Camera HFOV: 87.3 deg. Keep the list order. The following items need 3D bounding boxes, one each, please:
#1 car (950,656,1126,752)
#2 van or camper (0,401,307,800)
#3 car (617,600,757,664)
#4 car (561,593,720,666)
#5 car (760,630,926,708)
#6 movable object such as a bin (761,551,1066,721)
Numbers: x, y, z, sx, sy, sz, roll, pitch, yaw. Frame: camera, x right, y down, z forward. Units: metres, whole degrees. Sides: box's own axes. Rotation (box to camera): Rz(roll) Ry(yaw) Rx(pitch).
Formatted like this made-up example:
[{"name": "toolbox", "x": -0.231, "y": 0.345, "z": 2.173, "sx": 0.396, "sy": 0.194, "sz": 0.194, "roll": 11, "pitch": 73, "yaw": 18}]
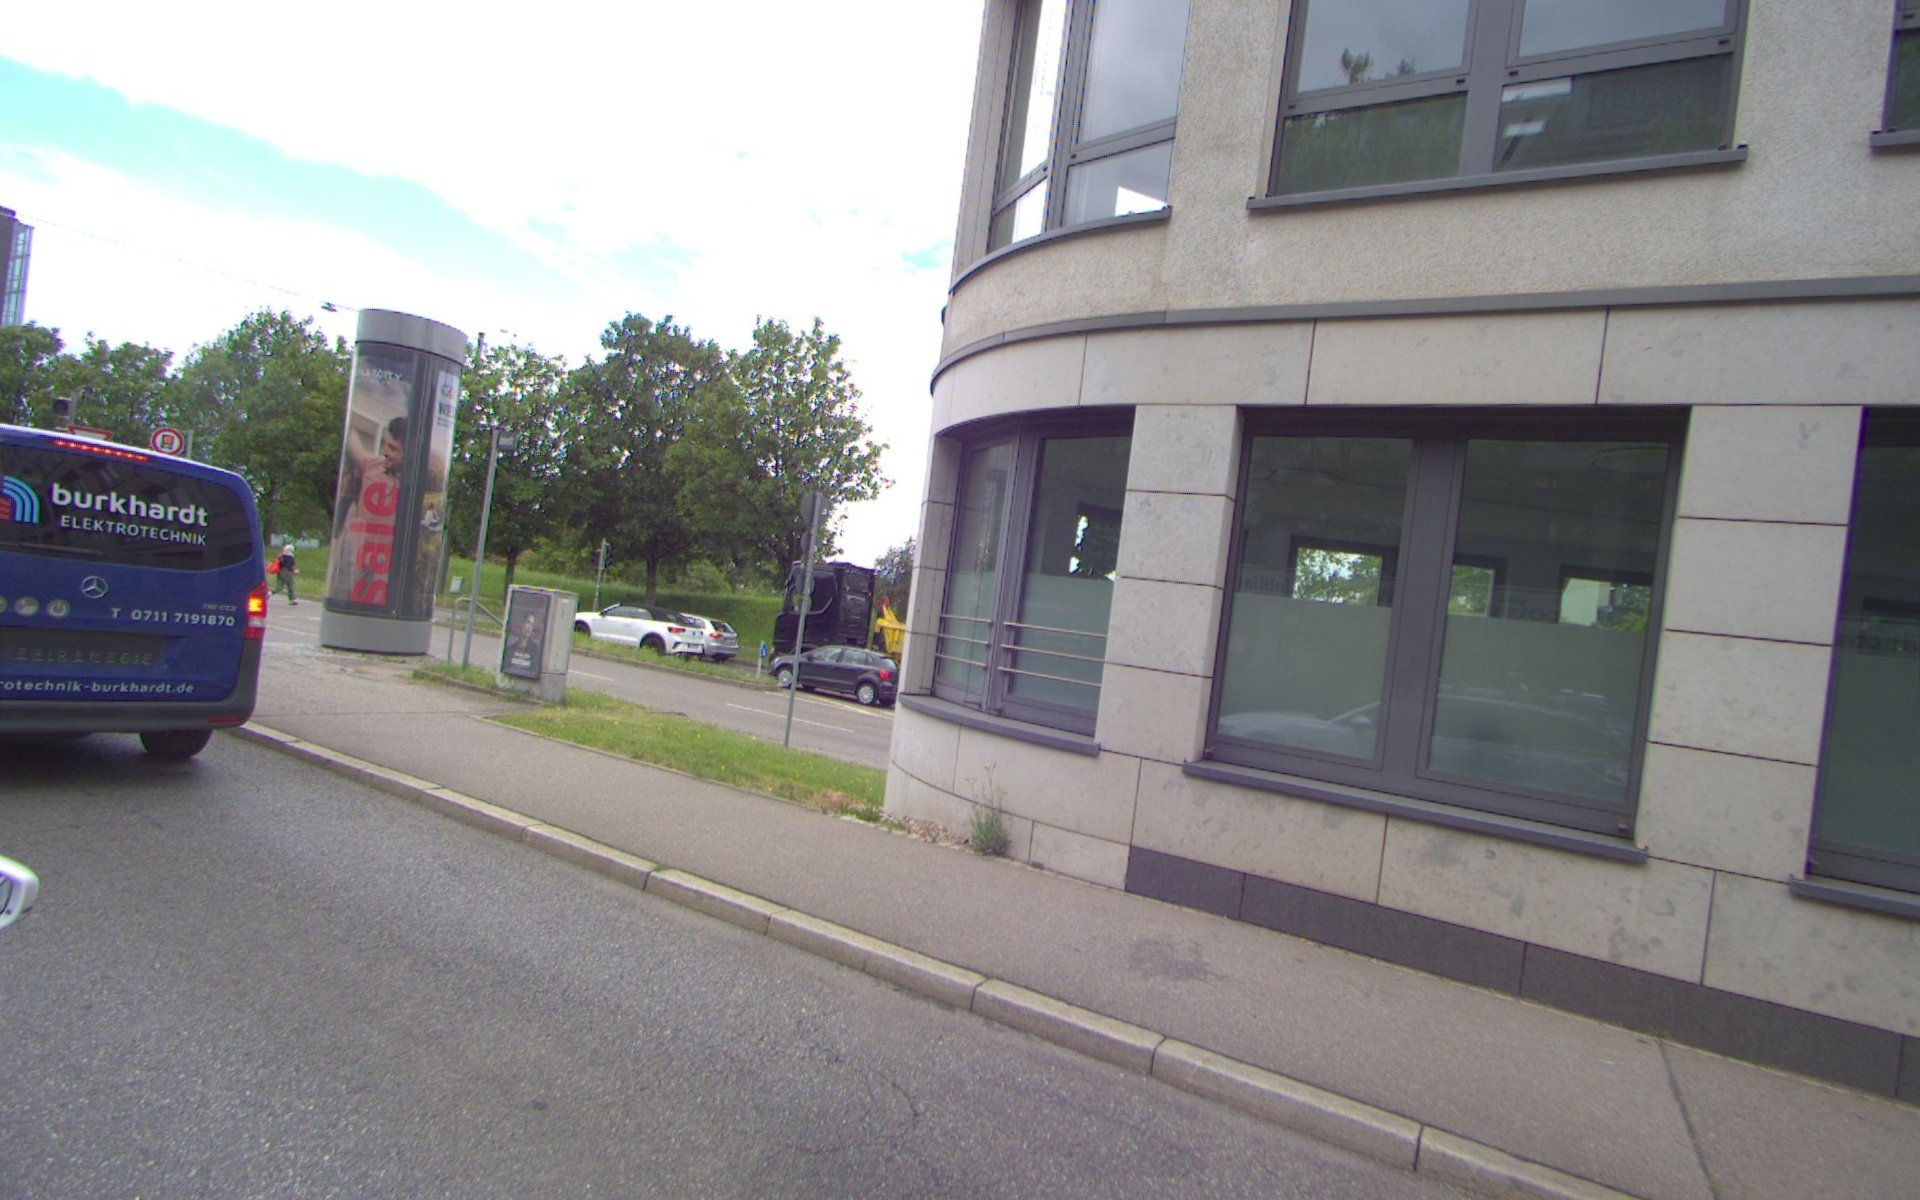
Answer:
[{"name": "car", "x": 2.018, "y": 2.628, "z": 25.716, "sx": 3.925, "sy": 1.723, "sz": 2.003, "roll": 8, "pitch": -3, "yaw": 19}, {"name": "van or camper", "x": -6.555, "y": -0.197, "z": 6.497, "sx": 4.949, "sy": 1.934, "sz": 1.862, "roll": 7, "pitch": -1, "yaw": 32}, {"name": "car", "x": -9.104, "y": 1.078, "z": 33.607, "sx": 3.925, "sy": 1.469, "sz": 2.003, "roll": 8, "pitch": -3, "yaw": 19}, {"name": "car", "x": -9.496, "y": 0.891, "z": 29.979, "sx": 3.925, "sy": 1.469, "sz": 2.003, "roll": 8, "pitch": -3, "yaw": 19}, {"name": "car", "x": -3.198, "y": 1.909, "z": 27.737, "sx": 3.925, "sy": 1.469, "sz": 2.003, "roll": 8, "pitch": -3, "yaw": 19}, {"name": "movable object such as a bin", "x": -1.396, "y": 1.049, "z": 30.568, "sx": 8.410, "sy": 3.949, "sz": 2.870, "roll": 7, "pitch": -1, "yaw": 18}]
